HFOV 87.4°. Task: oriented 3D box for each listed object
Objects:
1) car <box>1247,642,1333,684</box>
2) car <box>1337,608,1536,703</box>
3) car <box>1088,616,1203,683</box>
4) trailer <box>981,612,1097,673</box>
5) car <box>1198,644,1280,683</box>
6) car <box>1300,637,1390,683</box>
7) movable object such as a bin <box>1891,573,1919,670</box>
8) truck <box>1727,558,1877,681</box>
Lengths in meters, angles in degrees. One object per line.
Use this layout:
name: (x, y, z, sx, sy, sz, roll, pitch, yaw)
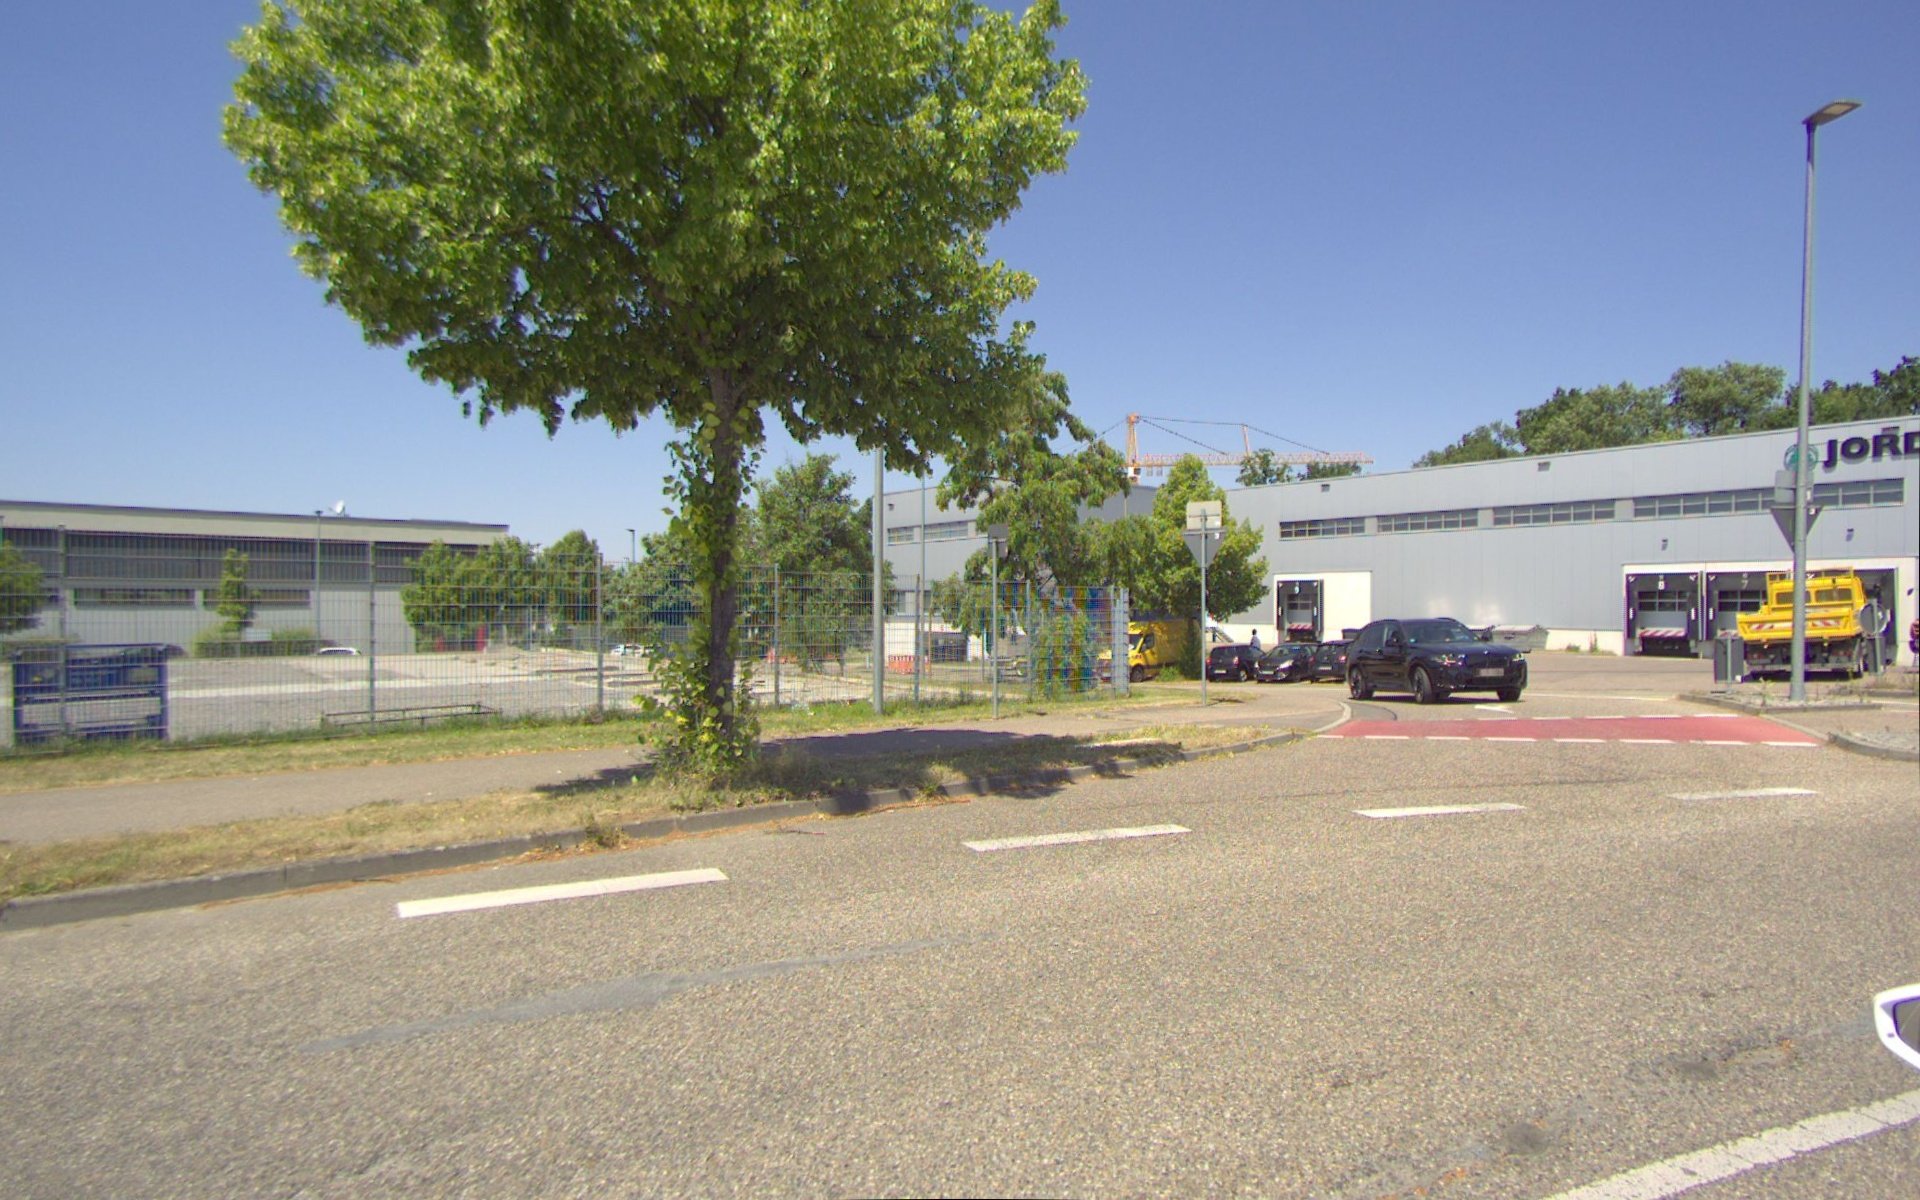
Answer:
car: (13.051, 2.456, 39.659, 3.755, 1.527, 1.571, 1, -3, -42)
car: (9.401, 1.166, 20.310, 1.833, 1.655, 4.602, -1, -4, 1)
car: (8.426, 2.166, 45.315, 5.753, 2.769, 1.976, 0, -1, -42)
trailer: (3.959, 2.145, 51.104, 2.646, 2.895, 5.450, -1, -1, -43)
car: (11.610, 2.593, 41.716, 3.586, 1.498, 1.608, 1, -3, -42)
car: (14.595, 2.242, 38.023, 3.641, 1.482, 1.609, -1, -2, -40)
movable object such as a bin: (28.294, 0.463, 25.474, 1.980, 2.614, 6.516, 1, -4, -34)
truck: (24.503, 0.501, 29.110, 6.380, 3.177, 2.563, -2, -2, -44)
